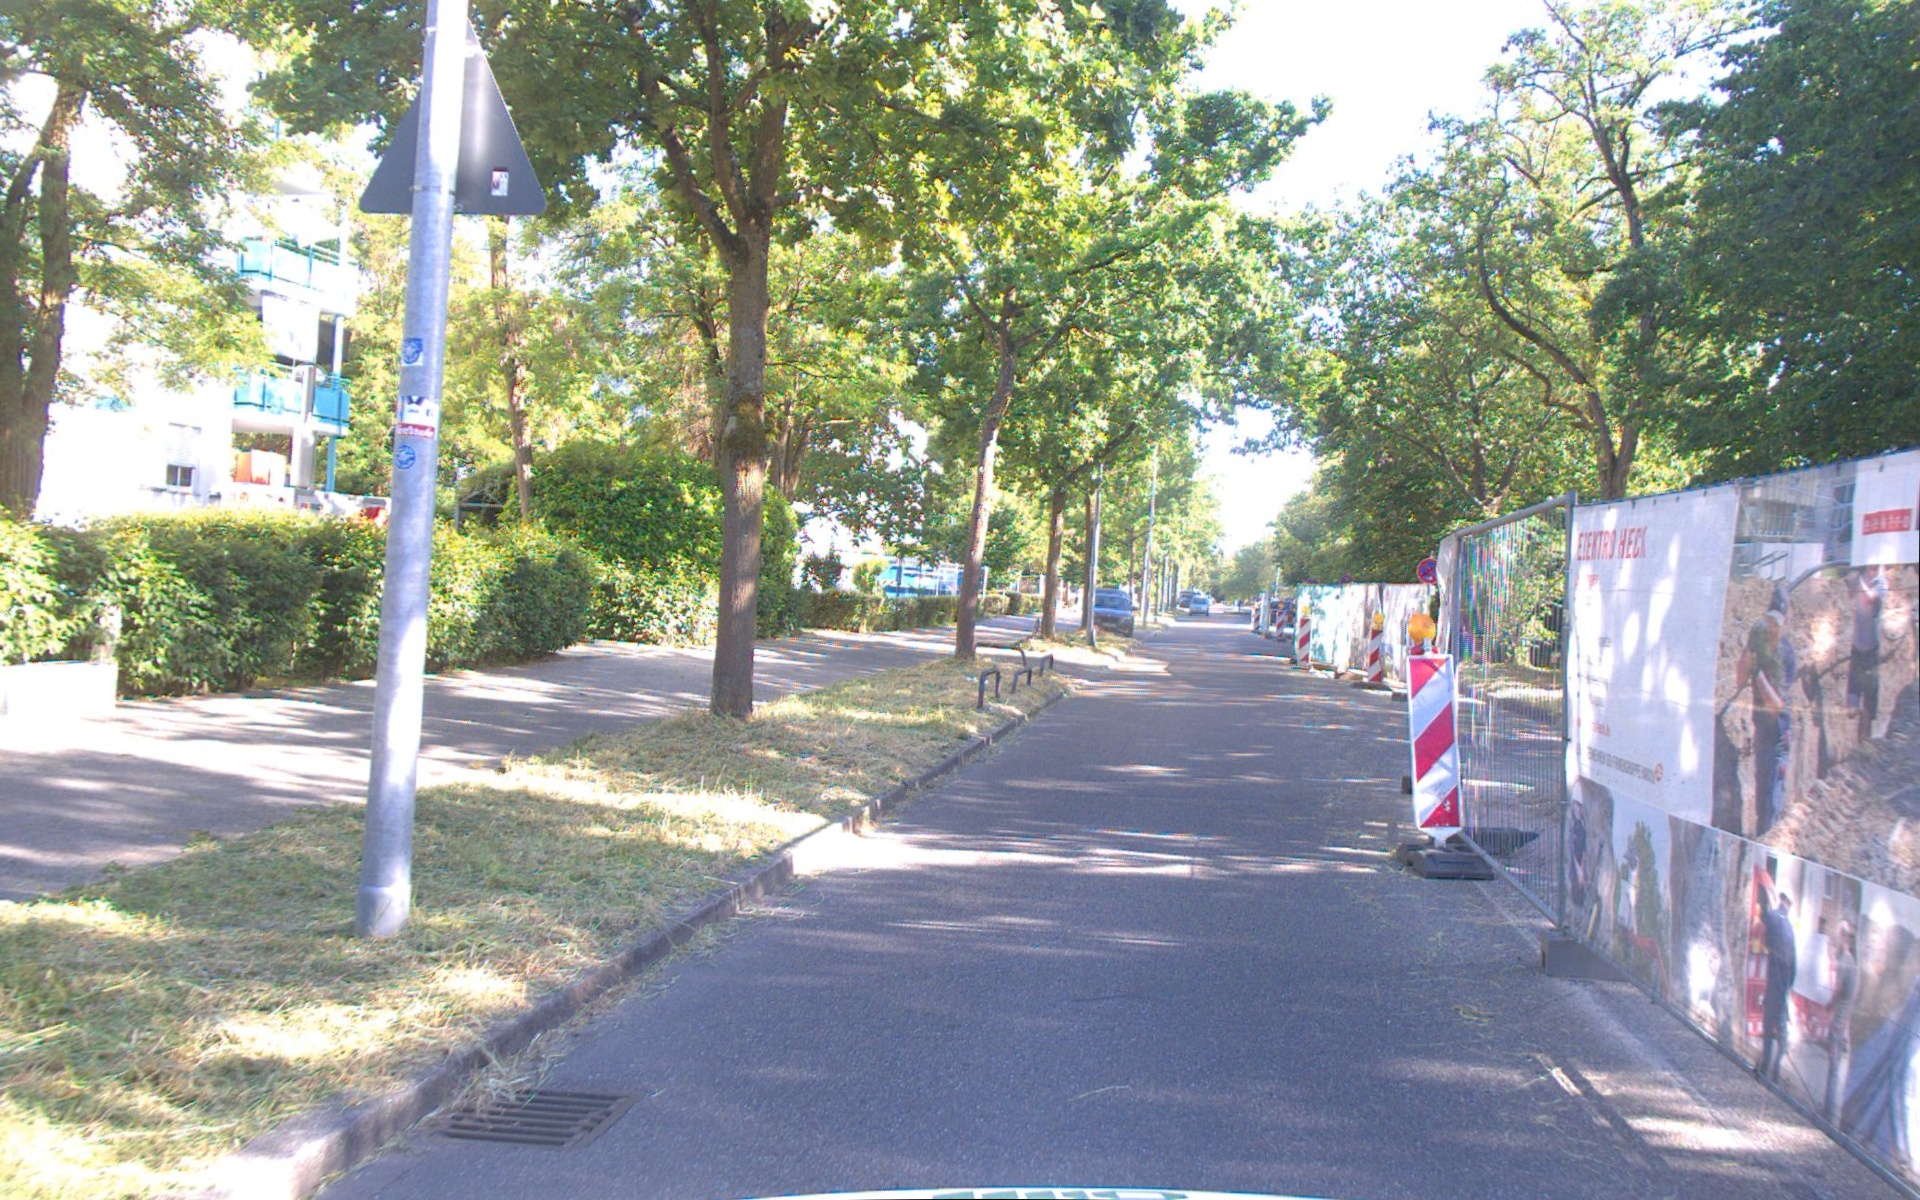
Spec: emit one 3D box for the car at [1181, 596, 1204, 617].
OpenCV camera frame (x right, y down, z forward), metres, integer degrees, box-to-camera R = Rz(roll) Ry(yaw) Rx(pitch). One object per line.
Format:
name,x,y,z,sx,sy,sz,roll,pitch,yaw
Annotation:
car,20.190,0.563,143.632,1.675,1.612,4.002,4,0,5

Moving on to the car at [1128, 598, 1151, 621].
car,11.326,0.631,104.239,1.333,1.324,3.483,4,0,6

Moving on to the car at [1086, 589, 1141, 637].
car,5.435,0.437,58.157,1.714,1.503,3.839,4,0,7

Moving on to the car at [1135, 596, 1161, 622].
car,10.540,0.541,92.883,1.333,1.324,3.483,4,0,6

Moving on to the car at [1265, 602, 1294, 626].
car,21.001,0.886,108.801,1.756,1.434,4.003,4,1,10

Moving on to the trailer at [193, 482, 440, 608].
trailer,-11.837,-0.950,30.789,1.935,2.078,4.432,3,0,15

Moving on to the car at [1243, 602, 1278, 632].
car,14.458,0.833,79.573,1.333,1.324,3.483,4,0,6

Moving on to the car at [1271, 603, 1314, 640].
car,13.370,0.858,66.610,1.333,1.324,3.483,4,0,6
